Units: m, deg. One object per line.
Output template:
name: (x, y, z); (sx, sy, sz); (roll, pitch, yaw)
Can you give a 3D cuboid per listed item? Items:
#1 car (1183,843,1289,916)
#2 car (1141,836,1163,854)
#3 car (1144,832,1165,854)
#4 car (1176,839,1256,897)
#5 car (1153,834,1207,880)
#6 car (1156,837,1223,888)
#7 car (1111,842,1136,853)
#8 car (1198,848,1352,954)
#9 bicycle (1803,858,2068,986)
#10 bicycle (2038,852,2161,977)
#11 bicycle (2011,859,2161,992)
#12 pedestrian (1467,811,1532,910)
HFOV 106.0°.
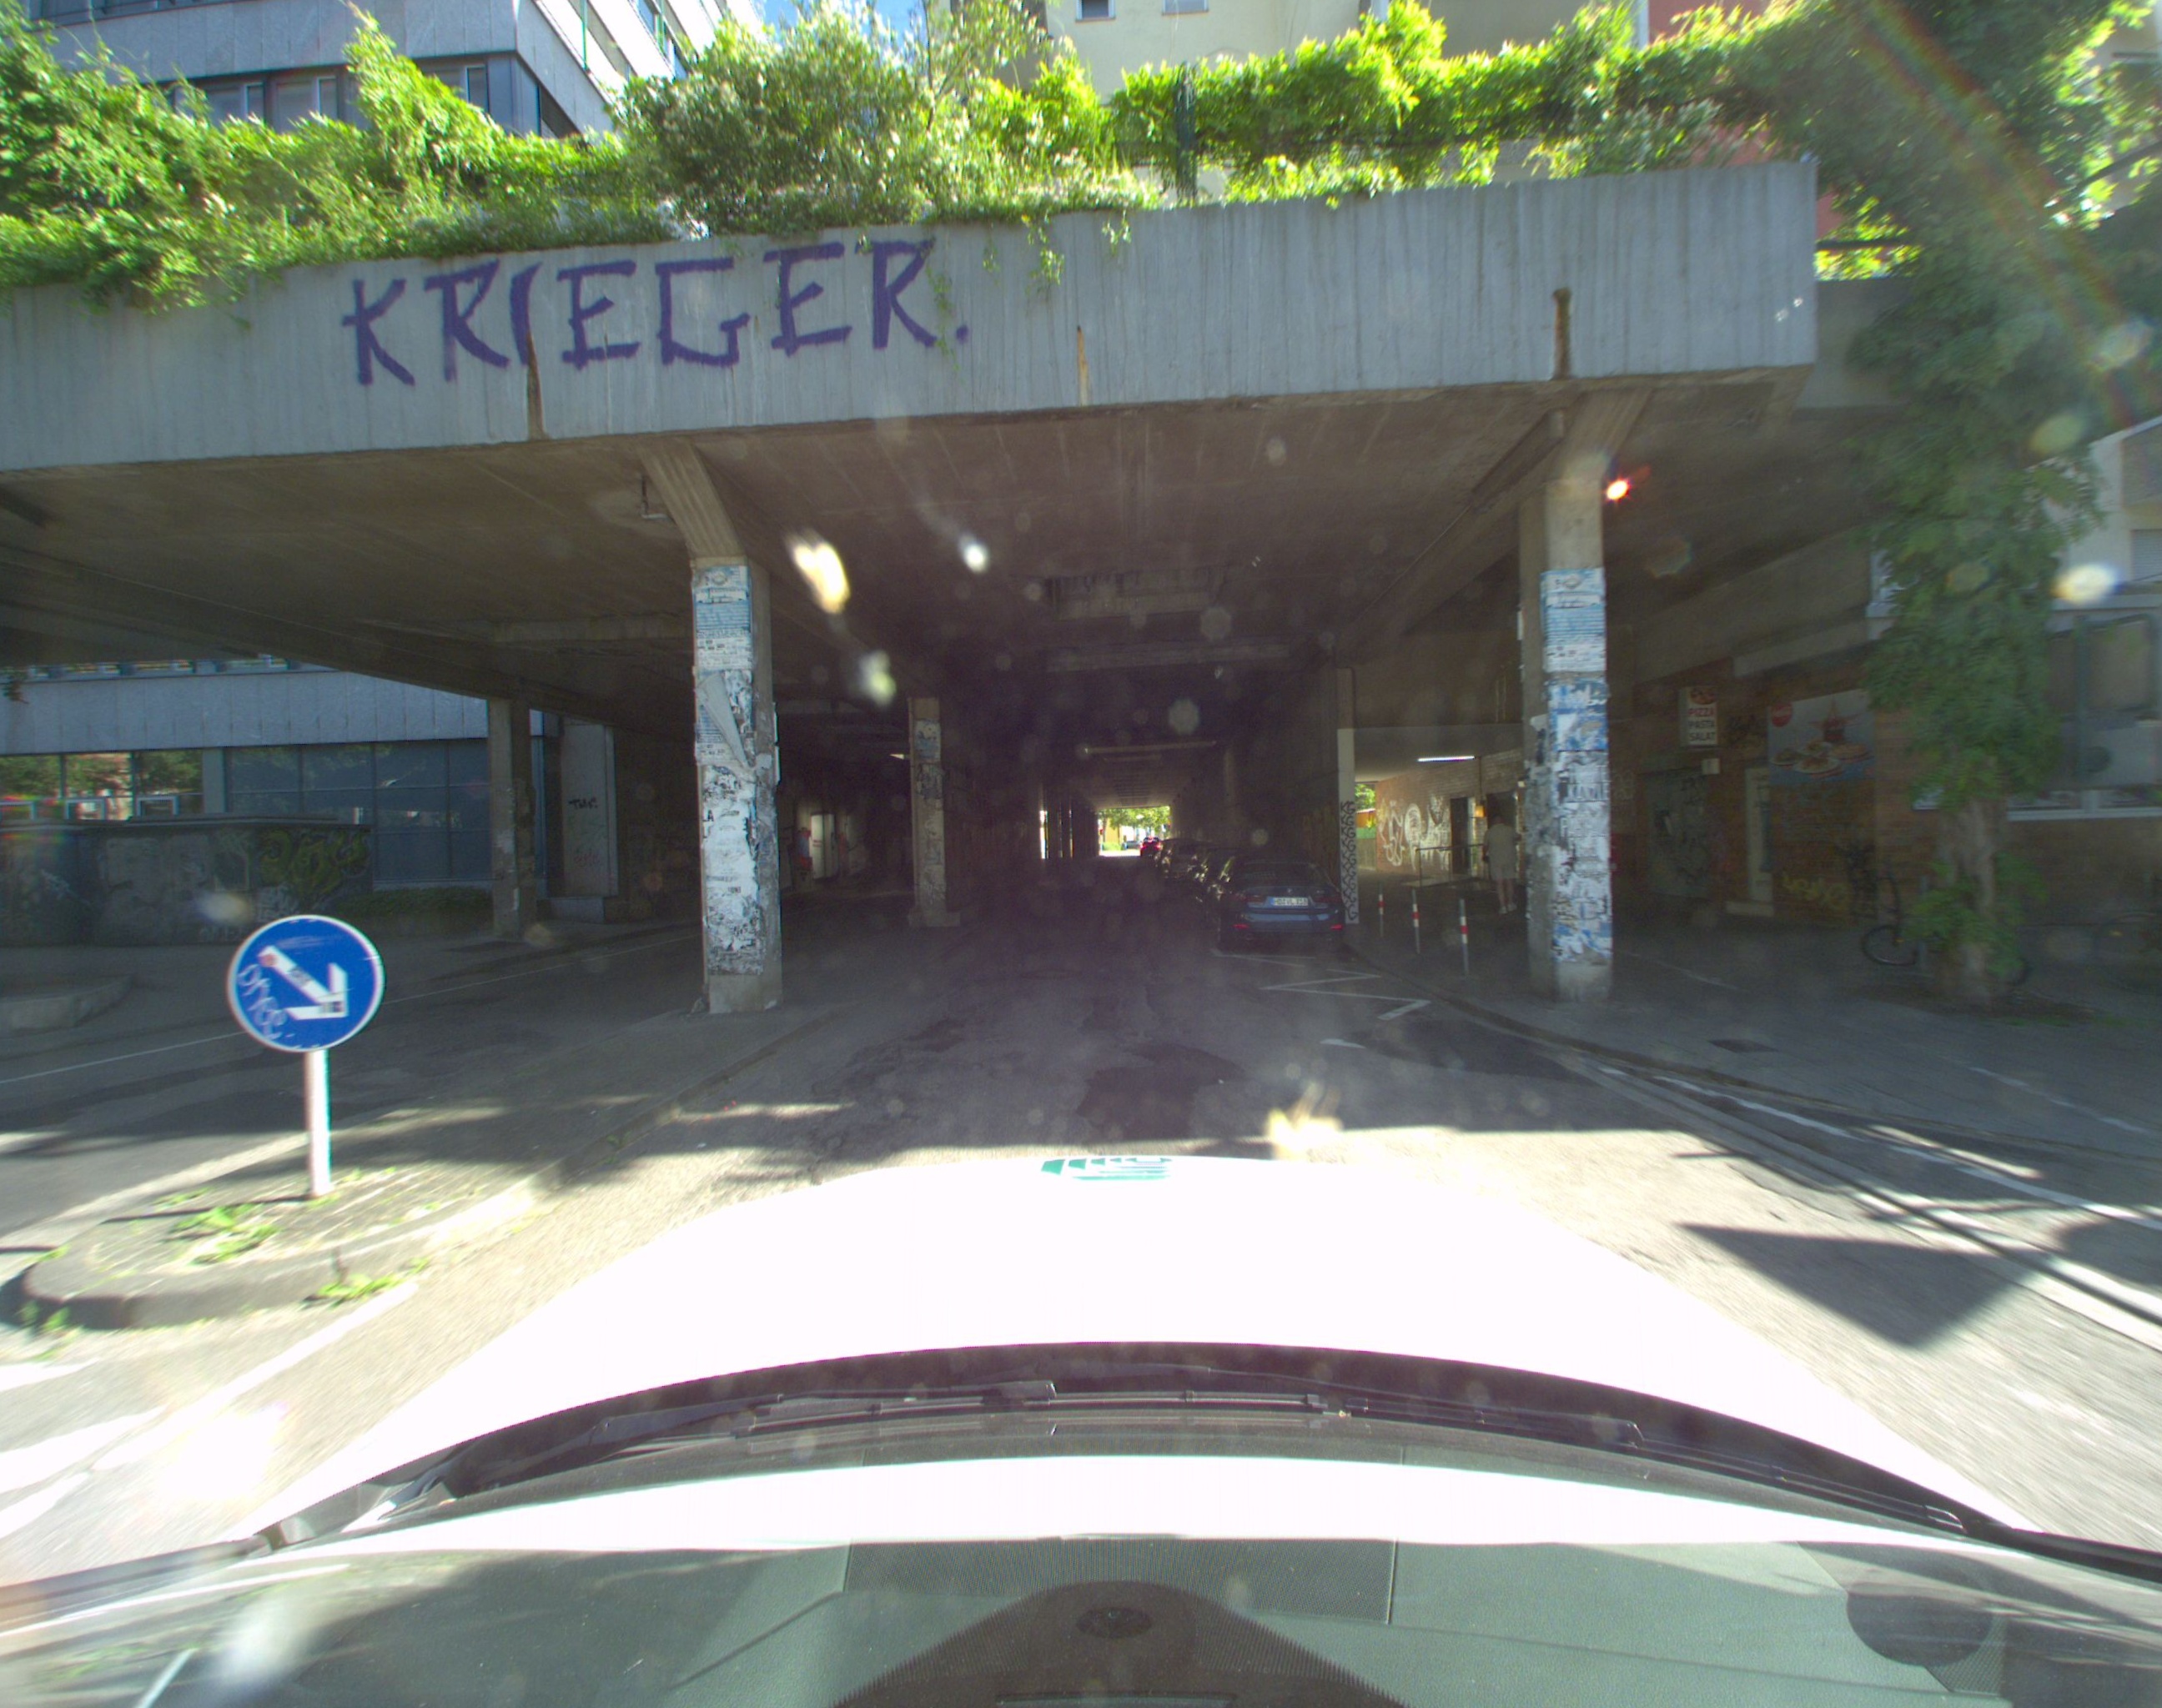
car: (3.361, 0.489, 18.387); (1.754, 1.410, 4.066); (-2, 0, 3)
car: (6.125, -0.813, 70.729); (1.818, 1.501, 4.217); (-2, 1, 4)
car: (6.944, -1.059, 77.236); (1.807, 1.882, 4.591); (-2, 1, 4)
car: (3.757, 0.351, 23.244); (1.599, 1.487, 3.636); (-2, 0, -1)
car: (3.926, 0.070, 32.979); (1.845, 1.666, 4.375); (-1, 1, 3)
car: (3.579, 0.243, 27.594); (1.724, 1.546, 4.156); (-2, 0, 0)
car: (7.085, -1.094, 134.318); (3.965, 1.574, 1.643); (-2, 0, 7)
car: (2.994, 0.633, 13.501); (1.842, 1.433, 4.614); (0, 1, 5)
bicycle: (7.892, 0.564, 7.656); (0.482, 1.001, 1.799); (-3, 1, -4)
bicycle: (9.246, 0.524, 6.759); (0.413, 1.001, 1.800); (-3, 2, -4)
bicycle: (8.652, 0.575, 6.482); (0.415, 1.001, 1.607); (-3, 3, -19)
pedestrian: (7.421, 0.093, 14.473); (0.791, 1.699, 0.758); (-2, 3, 2)
